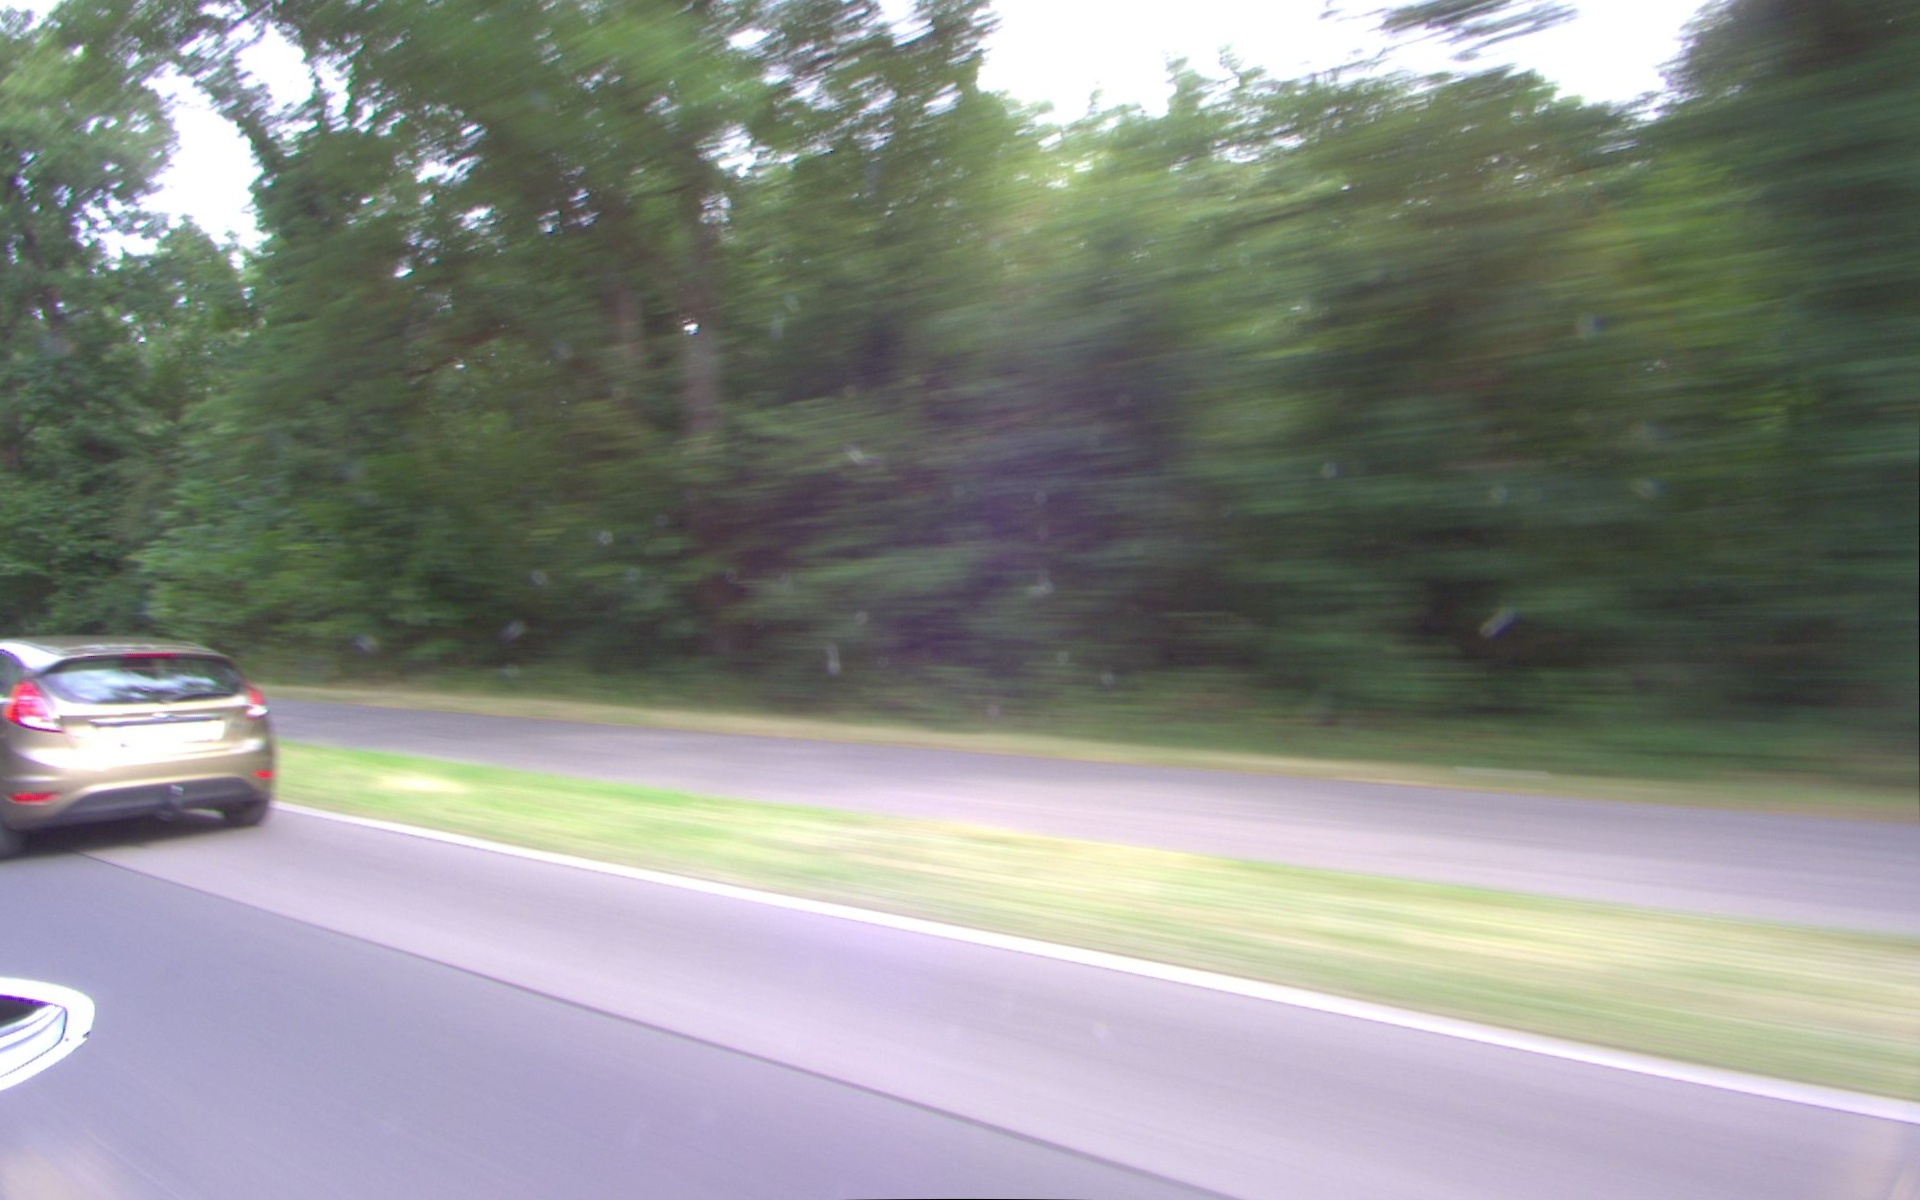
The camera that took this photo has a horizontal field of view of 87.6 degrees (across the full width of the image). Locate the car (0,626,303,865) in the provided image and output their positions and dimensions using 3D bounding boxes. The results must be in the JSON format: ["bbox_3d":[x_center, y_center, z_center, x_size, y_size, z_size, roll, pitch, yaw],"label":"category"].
[{"bbox_3d":[-6.988,0.970,7.795,3.943,1.437,1.633,-2,-3,32],"label":"car"}]
